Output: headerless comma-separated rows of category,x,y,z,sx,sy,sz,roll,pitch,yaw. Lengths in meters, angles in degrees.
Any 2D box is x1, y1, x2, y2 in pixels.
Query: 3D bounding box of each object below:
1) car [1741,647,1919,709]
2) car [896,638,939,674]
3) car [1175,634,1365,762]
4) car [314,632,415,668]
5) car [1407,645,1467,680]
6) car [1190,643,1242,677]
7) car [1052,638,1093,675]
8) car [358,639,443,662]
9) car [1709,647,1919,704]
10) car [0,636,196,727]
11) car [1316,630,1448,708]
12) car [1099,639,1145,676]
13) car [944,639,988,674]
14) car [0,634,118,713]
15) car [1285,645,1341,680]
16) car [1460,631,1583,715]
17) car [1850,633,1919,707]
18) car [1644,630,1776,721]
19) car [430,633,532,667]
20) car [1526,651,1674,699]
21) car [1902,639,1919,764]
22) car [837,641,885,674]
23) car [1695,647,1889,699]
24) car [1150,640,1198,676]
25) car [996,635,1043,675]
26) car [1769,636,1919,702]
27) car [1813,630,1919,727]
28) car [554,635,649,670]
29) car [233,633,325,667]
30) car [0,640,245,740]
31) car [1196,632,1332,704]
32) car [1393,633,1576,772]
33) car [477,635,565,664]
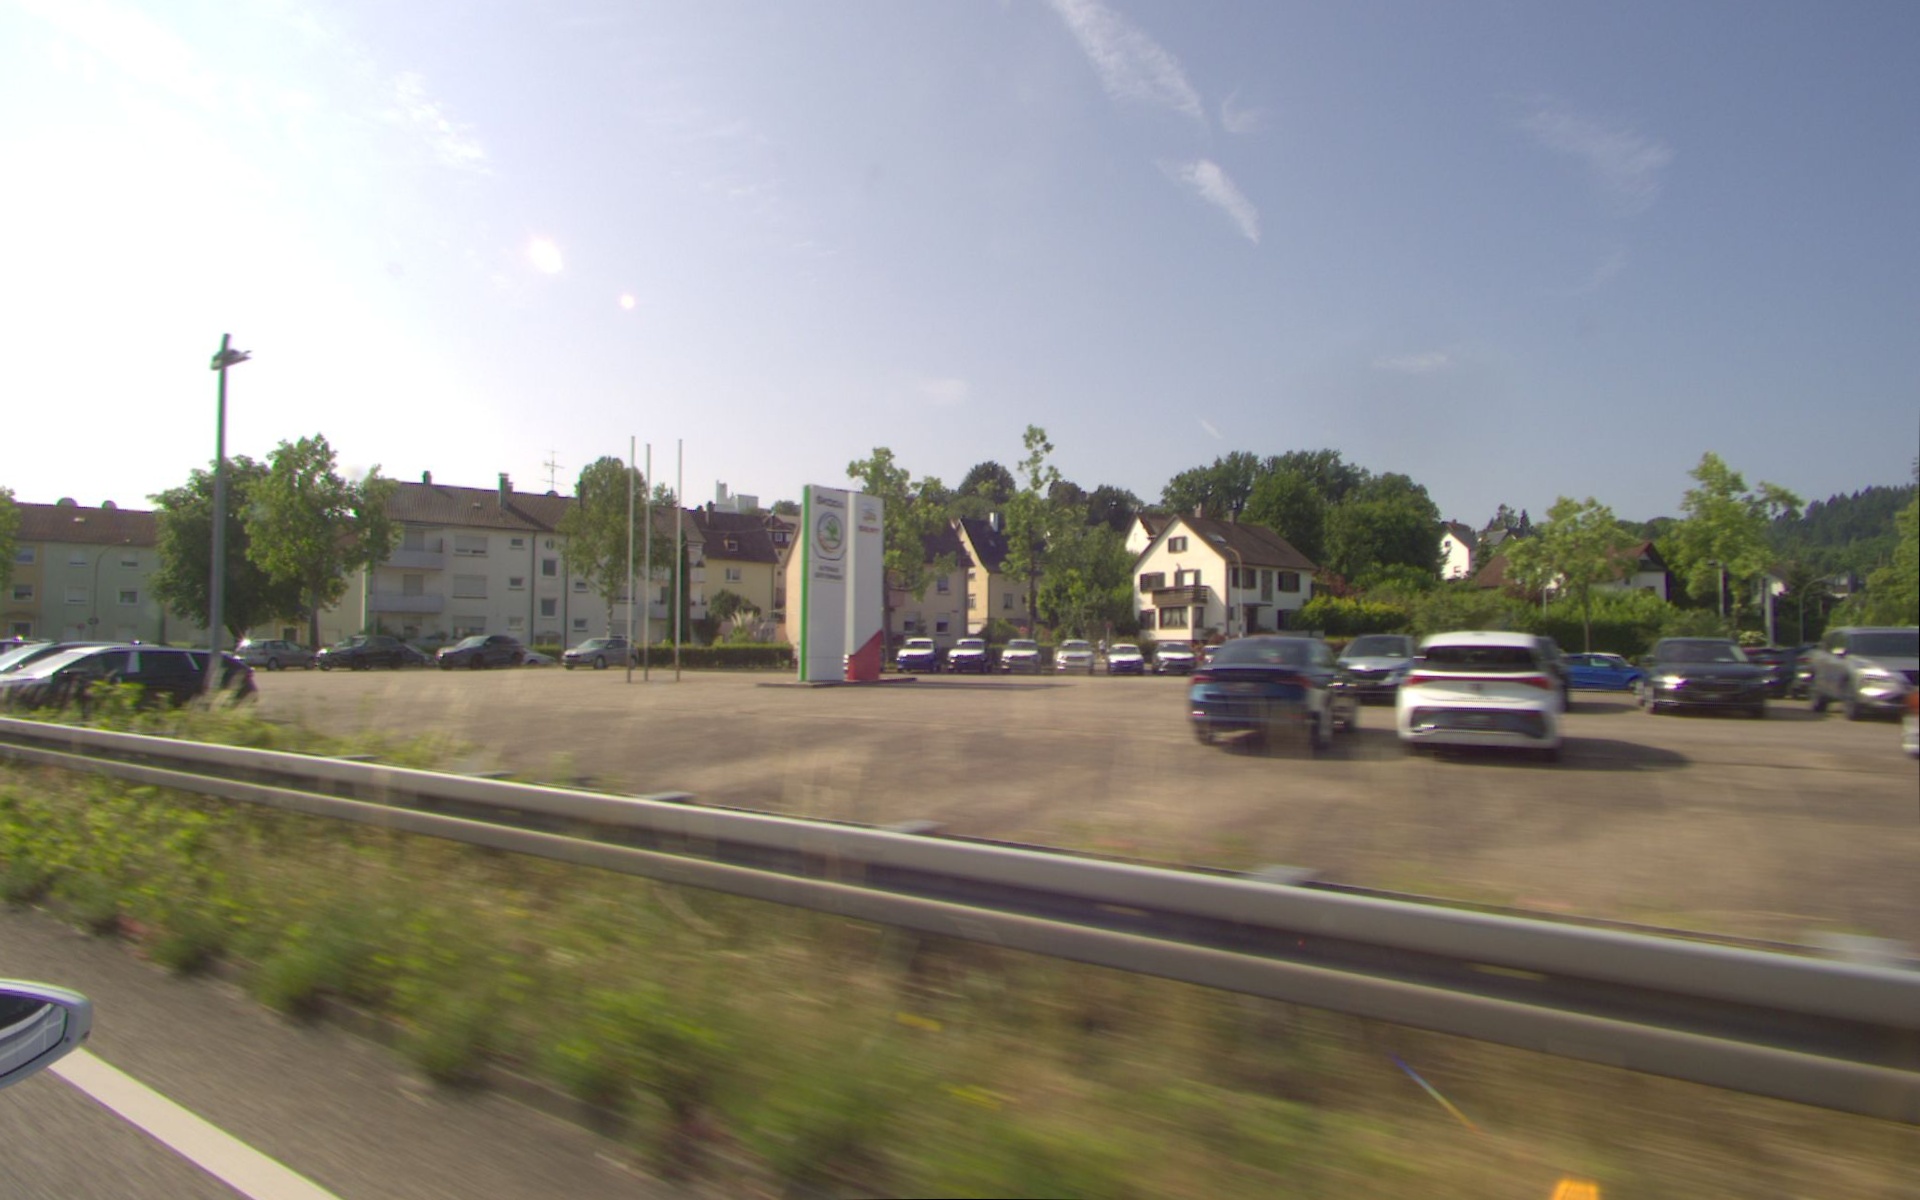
car,24.657,2.115,27.577,4.530,1.566,2.000,-1,-2,21
car,-2.032,2.712,49.179,1.894,1.608,4.754,-1,-2,0
car,4.592,1.270,14.428,1.797,1.535,4.152,-1,-2,29
car,-28.286,2.374,47.748,1.805,1.620,4.499,0,-2,6
car,23.407,3.018,49.277,1.806,1.566,4.747,-1,-2,15
car,12.811,2.965,50.403,1.742,1.566,4.753,-1,-2,5
car,5.555,2.745,49.478,1.894,1.655,4.753,-1,-2,6
car,-29.234,2.641,52.387,3.591,1.201,1.595,0,-2,1
car,25.648,2.224,30.210,4.534,1.566,1.998,-1,-2,24
car,-17.591,1.536,19.368,1.745,1.576,4.154,-1,-1,30
car,9.932,1.523,23.339,1.906,1.584,4.724,-1,-2,35
car,7.958,2.807,49.582,1.894,1.655,4.753,-1,-2,5
car,0.343,2.732,49.124,1.894,1.608,4.753,-1,-2,3
car,-20.283,1.527,20.646,1.715,1.565,4.154,-1,-1,30
car,17.601,3.076,50.087,1.742,1.566,4.752,-1,-2,8
car,12.281,1.481,21.756,1.906,1.584,4.724,-1,-2,35
car,23.169,1.525,22.345,4.522,1.566,2.003,-1,-1,10
car,14.951,1.422,20.175,1.906,1.584,4.724,-1,-2,35
car,-22.541,2.349,47.340,1.829,1.540,4.634,-1,-2,13
car,23.180,2.672,36.363,4.404,1.566,1.829,-2,-2,35
car,11.308,1.123,10.161,1.799,1.464,3.980,-1,-3,33
car,-4.789,2.770,49.155,1.894,1.477,4.754,-1,-2,0
car,27.000,2.327,32.721,4.541,1.566,1.995,-2,-2,29
car,10.608,2.868,49.923,1.894,1.655,4.753,-1,-2,7
car,2.977,2.661,49.125,1.895,1.803,4.752,-1,-2,8
car,23.553,1.712,25.188,4.526,1.566,2.002,-1,-1,16
car,17.445,1.374,18.607,1.906,1.584,4.724,-1,-2,35
car,-16.825,2.441,47.285,1.960,1.540,4.759,-1,-2,13
car,-32.121,2.349,47.377,1.625,1.540,3.768,0,-2,3
car,-15.339,1.515,17.642,1.706,1.510,4.154,-1,-1,30
car,7.668,1.601,24.939,1.906,1.584,4.724,-1,-2,35
car,7.064,1.222,13.284,1.799,1.535,4.085,-1,-3,33
car,-23.328,2.621,53.323,3.911,1.493,1.788,0,-2,5
